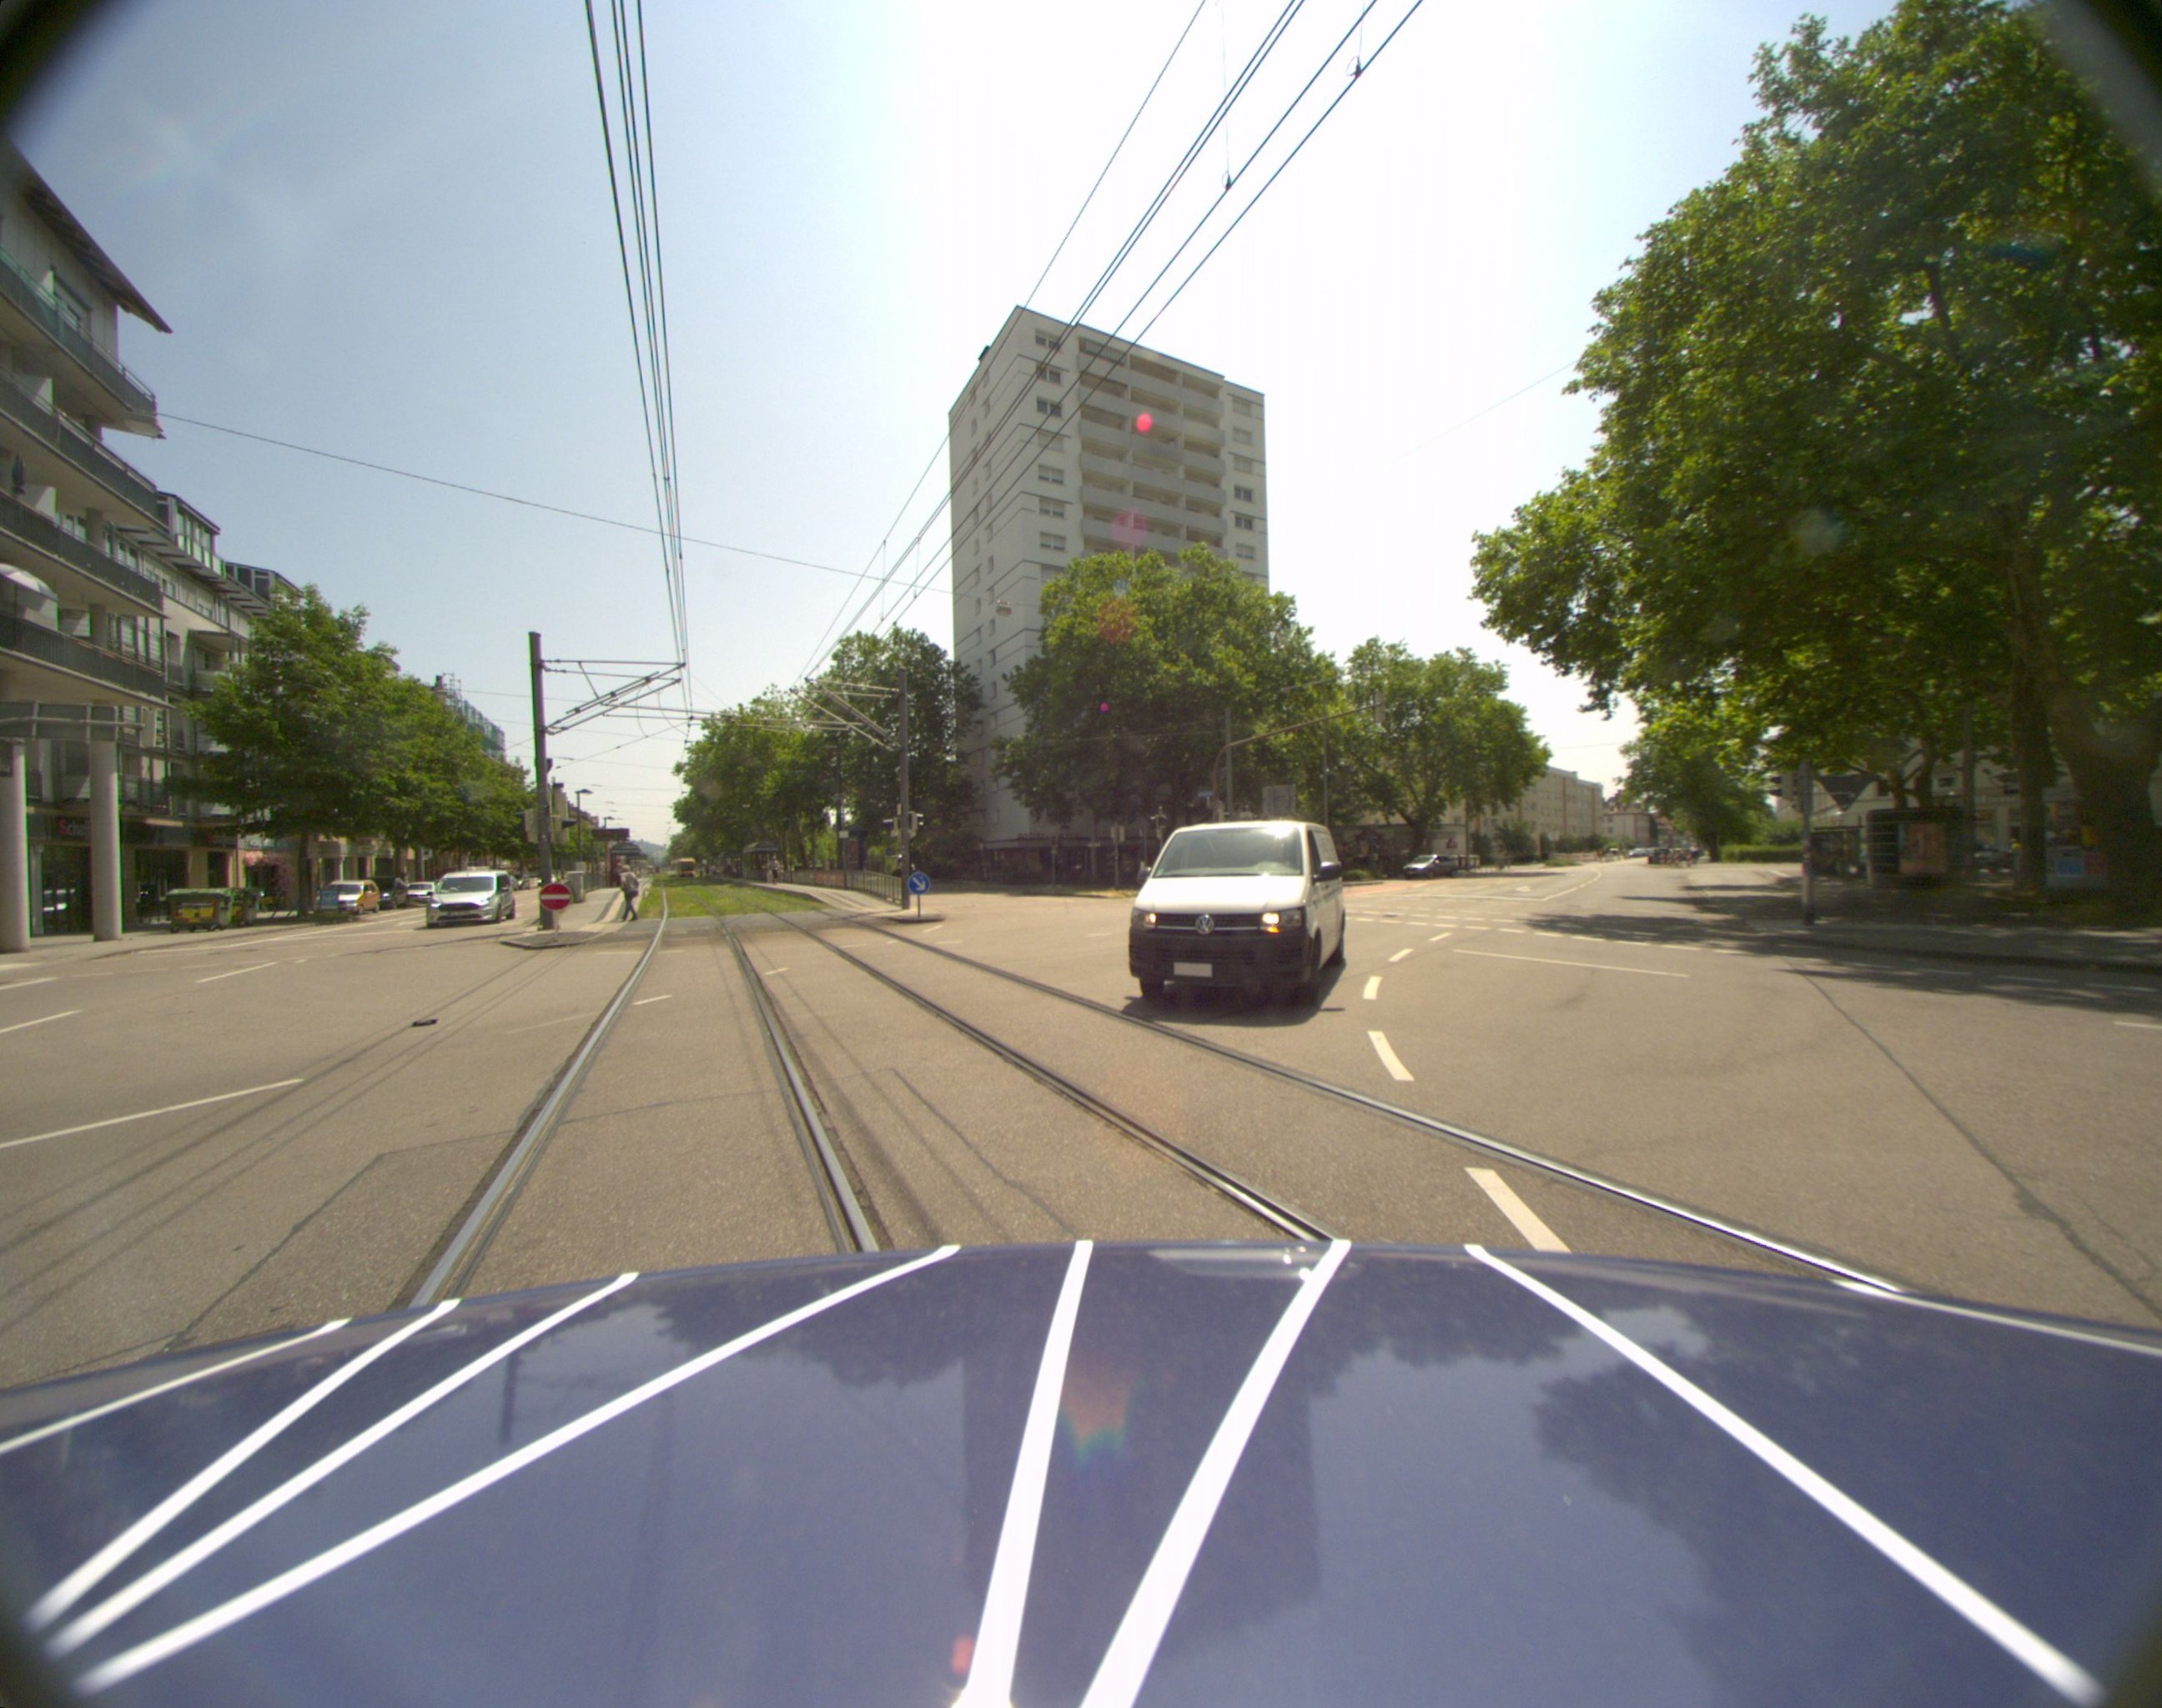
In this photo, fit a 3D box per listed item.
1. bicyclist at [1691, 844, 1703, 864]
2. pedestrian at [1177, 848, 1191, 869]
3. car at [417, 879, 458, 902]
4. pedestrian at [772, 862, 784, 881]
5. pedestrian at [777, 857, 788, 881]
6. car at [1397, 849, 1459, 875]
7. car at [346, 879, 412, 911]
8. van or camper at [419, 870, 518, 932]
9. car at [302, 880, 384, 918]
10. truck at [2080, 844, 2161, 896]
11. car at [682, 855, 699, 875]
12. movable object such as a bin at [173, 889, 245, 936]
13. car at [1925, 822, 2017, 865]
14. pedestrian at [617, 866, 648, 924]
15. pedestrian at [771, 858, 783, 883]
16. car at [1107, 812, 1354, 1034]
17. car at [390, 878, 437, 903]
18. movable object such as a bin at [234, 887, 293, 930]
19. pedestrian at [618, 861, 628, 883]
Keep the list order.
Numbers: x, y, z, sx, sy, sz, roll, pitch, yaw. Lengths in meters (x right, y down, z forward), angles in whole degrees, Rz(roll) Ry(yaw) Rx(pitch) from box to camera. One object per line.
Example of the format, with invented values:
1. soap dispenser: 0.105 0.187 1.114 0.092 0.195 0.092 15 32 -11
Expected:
1. bicyclist: 52.904 0.001 65.232 0.789 1.725 0.703 -3 2 -43
2. pedestrian: 6.857 0.327 50.578 0.641 1.357 0.592 -3 1 -34
3. car: -44.759 2.513 52.889 1.689 1.433 3.467 -2 0 -33
4. pedestrian: -21.135 1.214 52.984 0.680 1.341 0.630 -3 1 -30
5. pedestrian: -20.255 0.998 51.584 0.548 1.571 0.514 -3 1 -30
6. car: 22.603 0.494 49.418 4.064 1.453 1.941 -3 1 -37
7. car: -38.575 2.197 41.860 1.895 1.522 3.990 -3 1 -32
8. van or camper: -20.395 1.470 25.502 1.770 1.748 4.583 -3 1 -29
9. car: -36.040 2.152 37.244 2.003 1.522 3.990 -3 1 -32
10. truck: 48.057 0.675 34.631 4.377 2.110 1.961 -3 1 -22
11. car: -67.365 1.894 130.986 2.279 3.319 12.008 -2 0 -28
12. movable object such as a bin: -29.239 1.929 25.504 1.216 1.428 1.006 -3 1 -26
13. car: 45.609 -0.543 38.934 4.004 2.002 1.996 -3 1 -24
14. pedestrian: -13.489 1.218 22.875 0.681 1.696 0.552 -3 1 -26
15. pedestrian: -19.857 1.059 49.634 0.554 1.597 0.678 -3 1 -30
16. car: 2.133 0.599 9.281 1.849 1.942 4.951 -1 0 24
17. car: -42.299 2.301 48.239 1.689 1.433 3.467 -2 0 -33
18. movable object such as a bin: -29.793 1.959 27.718 1.217 1.428 1.006 -3 1 -35
19. pedestrian: -33.963 1.356 56.362 0.551 1.597 0.552 -3 1 -29
